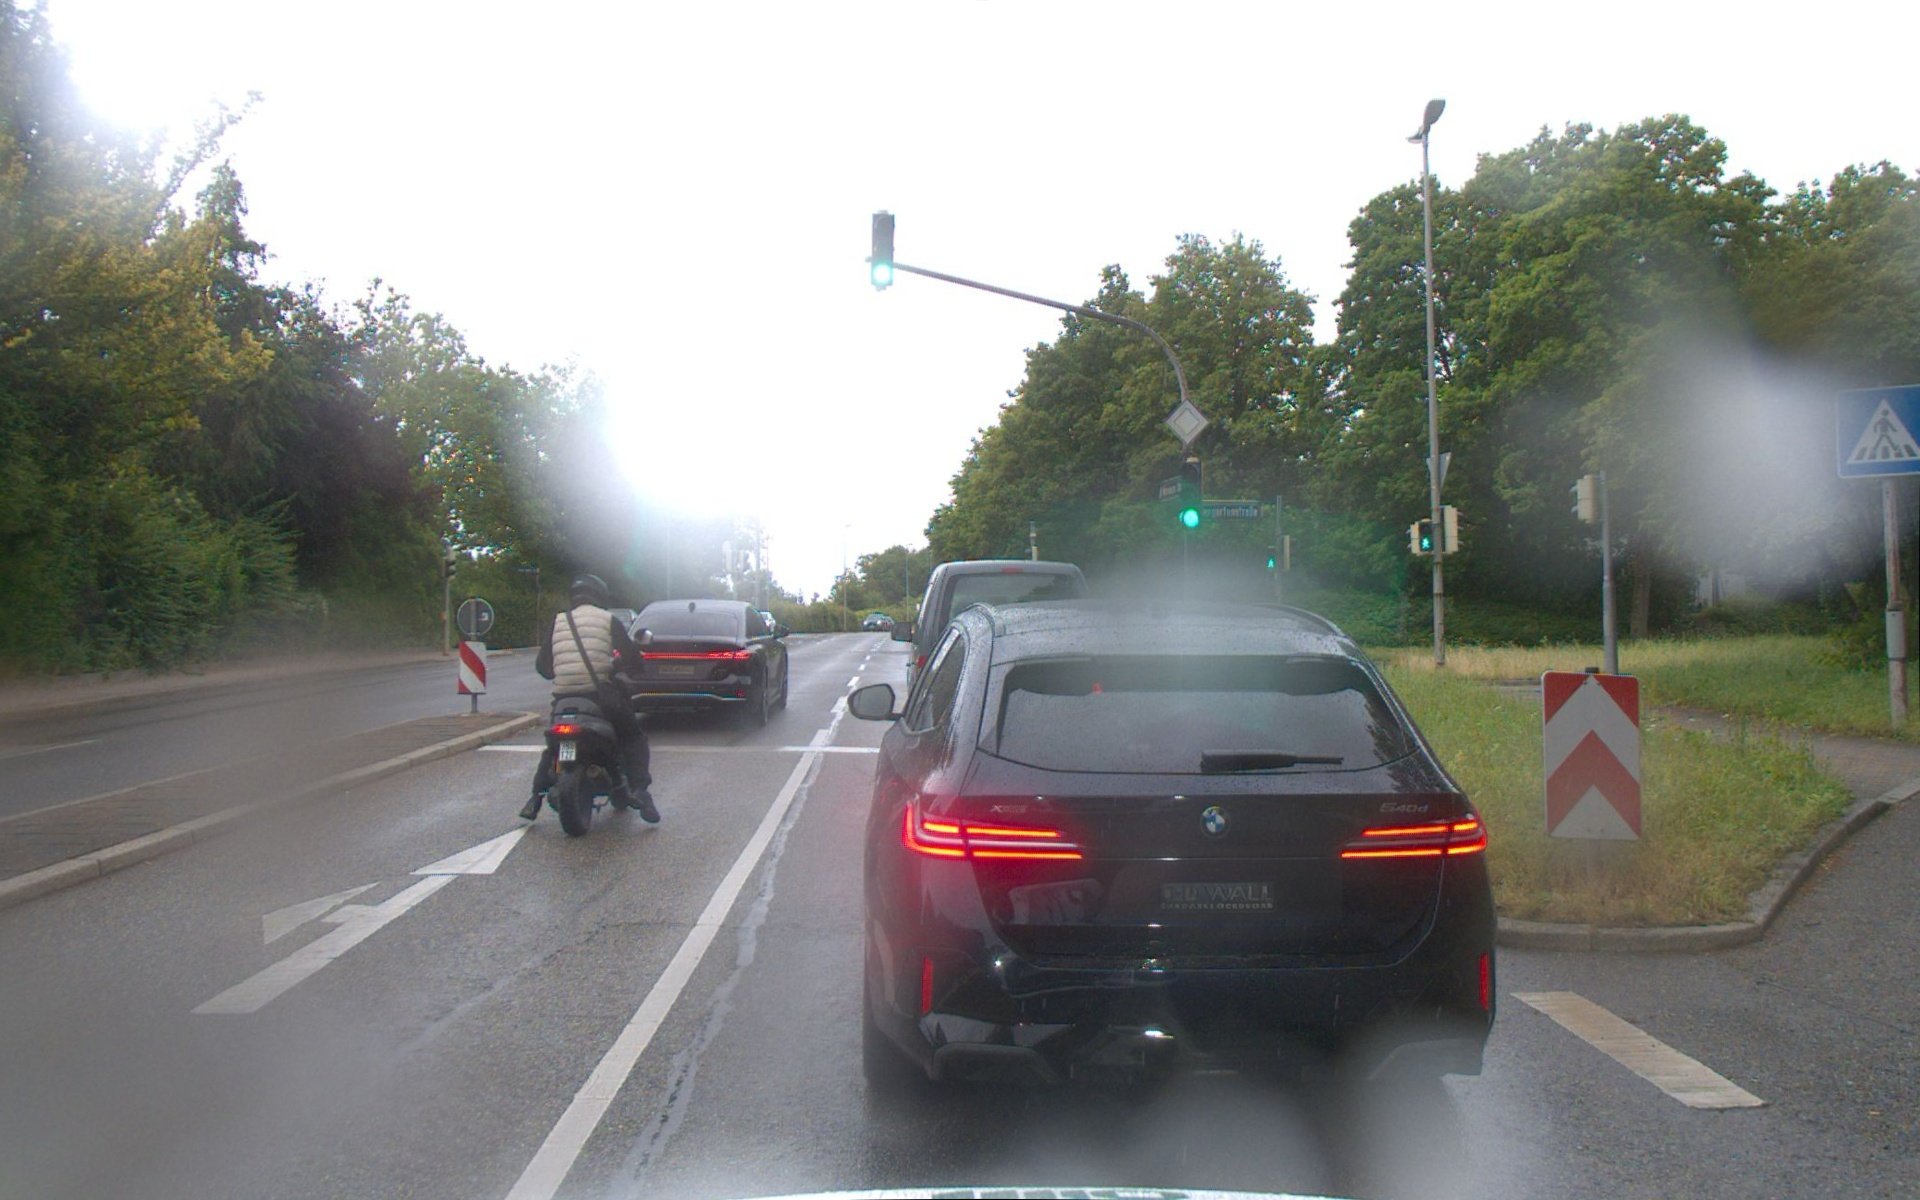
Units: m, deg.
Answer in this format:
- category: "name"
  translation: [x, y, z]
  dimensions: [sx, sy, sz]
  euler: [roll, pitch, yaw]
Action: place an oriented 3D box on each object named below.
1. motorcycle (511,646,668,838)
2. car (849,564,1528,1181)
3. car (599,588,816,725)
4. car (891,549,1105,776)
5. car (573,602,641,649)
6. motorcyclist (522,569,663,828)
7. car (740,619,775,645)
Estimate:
- category: "motorcycle"
  translation: [-2.425, 0.900, 10.977]
  dimensions: [0.726, 1.139, 1.426]
  euler: [1, 0, -1]
- category: "car"
  translation: [0.562, 0.711, 6.055]
  dimensions: [1.728, 1.563, 3.672]
  euler: [0, 0, -1]
- category: "car"
  translation: [-2.903, 0.594, 19.976]
  dimensions: [1.974, 1.440, 4.485]
  euler: [0, 1, -1]
- category: "car"
  translation: [0.285, 0.491, 15.416]
  dimensions: [1.731, 1.841, 3.905]
  euler: [0, 0, -1]
- category: "car"
  translation: [-12.267, 0.848, 57.694]
  dimensions: [1.826, 1.518, 3.830]
  euler: [-1, 0, -5]
- category: "motorcyclist"
  translation: [-2.422, 0.634, 10.943]
  dimensions: [0.828, 1.676, 0.468]
  euler: [0, 0, -1]
- category: "car"
  translation: [-12.677, 1.986, 103.708]
  dimensions: [1.693, 1.511, 4.155]
  euler: [-2, 0, -2]
